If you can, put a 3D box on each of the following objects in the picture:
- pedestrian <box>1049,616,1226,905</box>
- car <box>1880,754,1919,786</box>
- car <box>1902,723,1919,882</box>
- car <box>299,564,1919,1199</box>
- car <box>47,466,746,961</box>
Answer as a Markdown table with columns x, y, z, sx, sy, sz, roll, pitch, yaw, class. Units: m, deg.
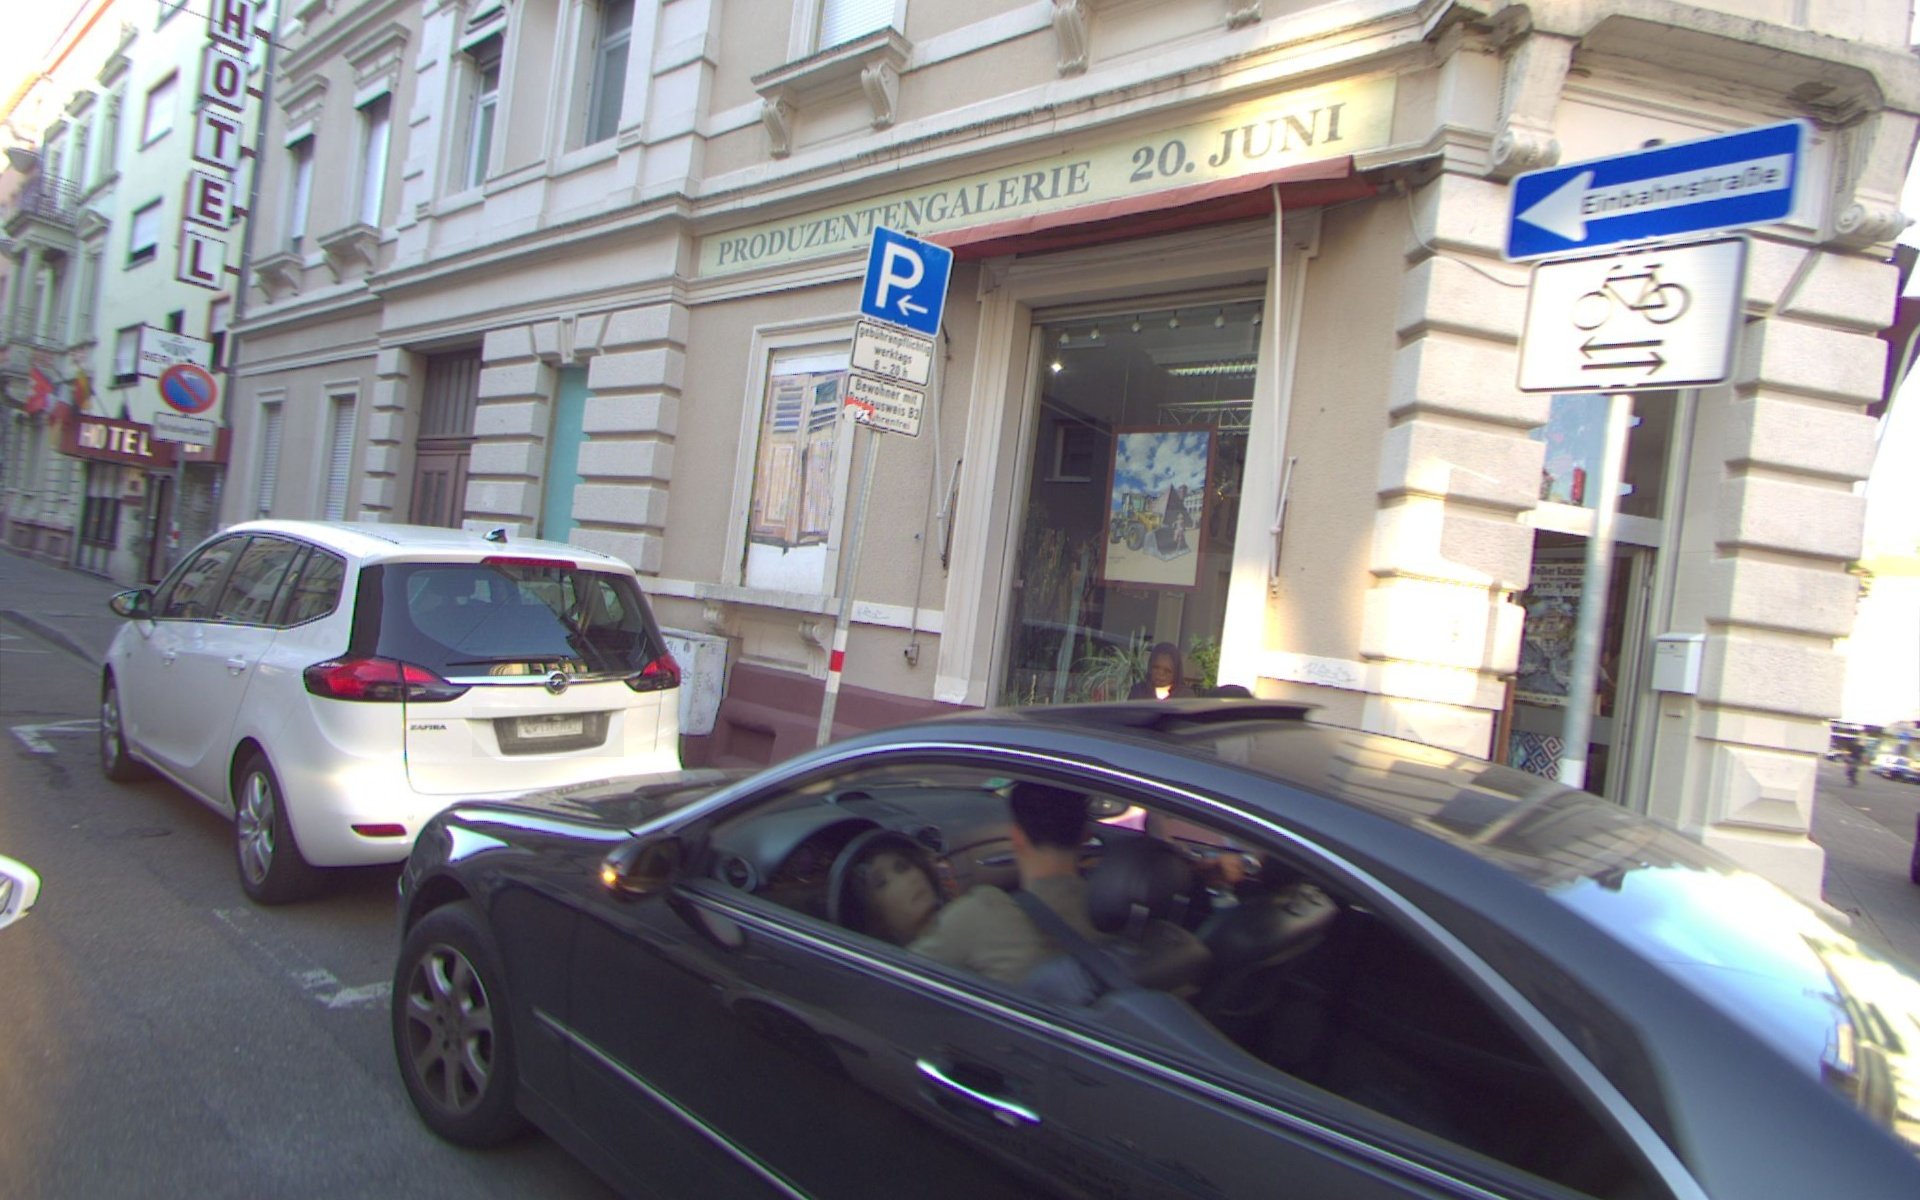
| x | y | z | sx | sy | sz | roll | pitch | yaw | class |
| --- | --- | --- | --- | --- | --- | --- | --- | --- | --- |
| 1.030 | 0.887 | 5.778 | 0.572 | 1.489 | 0.714 | 7 | 0 | 39 | pedestrian |
| 57.008 | 10.239 | 60.647 | 1.971 | 1.435 | 4.538 | 9 | 1 | 41 | car |
| 11.100 | 1.930 | 9.693 | 2.251 | 2.468 | 6.181 | 7 | -1 | 39 | car |
| 0.291 | 0.888 | 2.391 | 4.663 | 1.425 | 1.882 | 7 | -1 | 42 | car |
| -3.417 | 0.311 | 5.677 | 4.396 | 1.744 | 1.816 | 7 | -1 | 39 | car |
